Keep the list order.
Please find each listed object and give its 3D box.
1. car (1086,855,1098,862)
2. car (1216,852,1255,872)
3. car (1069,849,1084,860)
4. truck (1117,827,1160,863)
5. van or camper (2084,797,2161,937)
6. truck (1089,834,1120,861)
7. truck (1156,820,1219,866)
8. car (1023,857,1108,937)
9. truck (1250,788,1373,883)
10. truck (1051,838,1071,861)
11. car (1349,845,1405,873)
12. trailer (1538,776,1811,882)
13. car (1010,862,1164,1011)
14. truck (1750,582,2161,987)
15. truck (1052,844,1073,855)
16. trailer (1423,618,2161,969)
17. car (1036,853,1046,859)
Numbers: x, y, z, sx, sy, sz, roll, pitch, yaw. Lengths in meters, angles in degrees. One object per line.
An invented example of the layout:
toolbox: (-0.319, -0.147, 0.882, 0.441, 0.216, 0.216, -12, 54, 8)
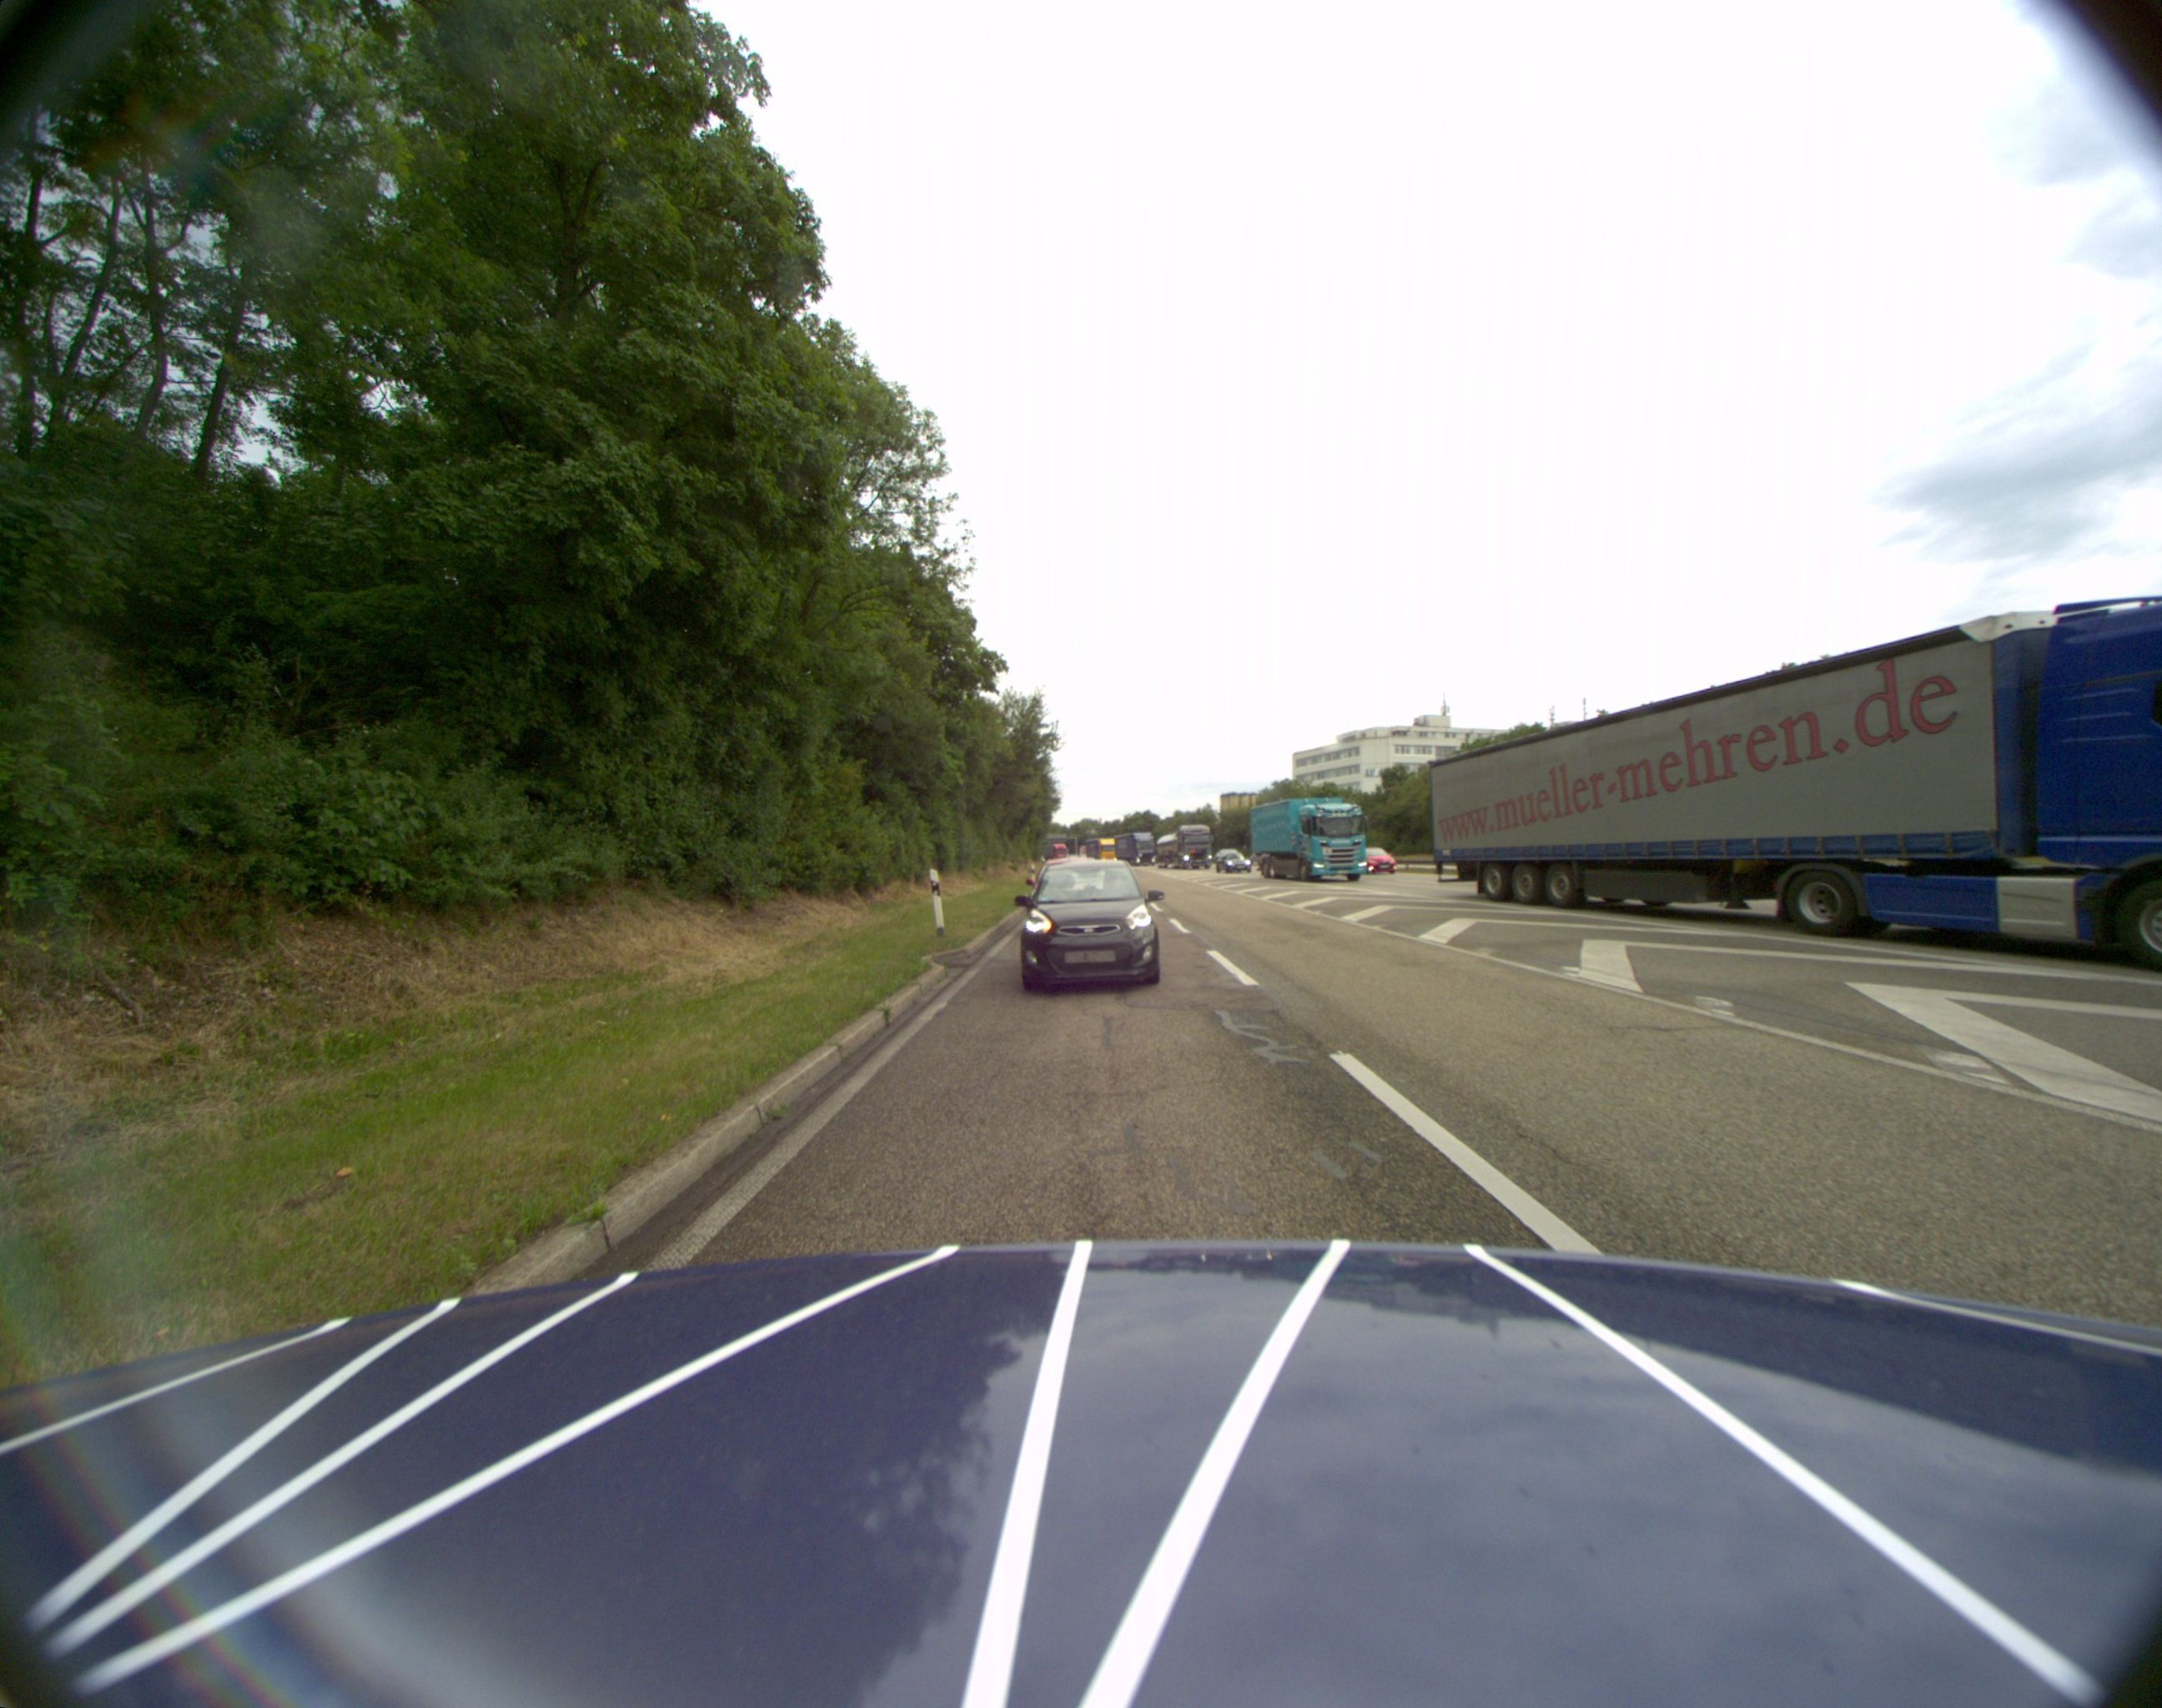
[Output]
car: (1.982, 0.862, 142.381, 1.636, 1.328, 3.192, -1, 0, -10)
car: (10.701, 0.517, 52.896, 1.757, 1.314, 3.999, -2, 0, -2)
car: (-0.769, 0.049, 124.294, 1.907, 1.653, 4.749, -1, 1, -6)
truck: (7.216, -1.079, 97.951, 2.815, 4.206, 13.997, -2, 0, -7)
van or camper: (15.751, 0.164, 8.766, 1.925, 1.909, 4.850, -1, 0, -1)
truck: (3.837, -0.983, 127.104, 2.848, 4.206, 14.111, -2, 0, -8)
truck: (9.832, -0.965, 72.219, 3.328, 3.902, 13.140, -2, 0, -3)
car: (-0.299, 0.851, 16.524, 1.630, 1.492, 3.564, -1, 0, 0)
truck: (11.037, -0.804, 37.717, 2.700, 3.977, 10.123, -2, 0, -2)
truck: (-4.719, -0.999, 176.330, 2.848, 5.070, 14.111, -2, 0, -8)
car: (16.183, 0.253, 41.713, 1.746, 1.410, 3.447, -1, 0, 1)
trailer: (26.706, -0.966, 35.692, 2.404, 4.005, 13.075, -1, 0, -1)
car: (0.107, 0.899, 10.054, 1.584, 1.485, 4.000, -2, 0, 1)
truck: (11.822, -0.707, 8.873, 2.676, 3.938, 5.926, -2, 0, -1)
truck: (-6.144, -1.420, 244.648, 3.136, 3.605, 13.886, -2, 0, -16)
trailer: (11.679, -0.723, 15.643, 2.680, 3.951, 13.917, -2, 0, -1)
car: (-9.259, 0.456, 174.663, 1.749, 1.430, 3.480, -1, 0, -11)
